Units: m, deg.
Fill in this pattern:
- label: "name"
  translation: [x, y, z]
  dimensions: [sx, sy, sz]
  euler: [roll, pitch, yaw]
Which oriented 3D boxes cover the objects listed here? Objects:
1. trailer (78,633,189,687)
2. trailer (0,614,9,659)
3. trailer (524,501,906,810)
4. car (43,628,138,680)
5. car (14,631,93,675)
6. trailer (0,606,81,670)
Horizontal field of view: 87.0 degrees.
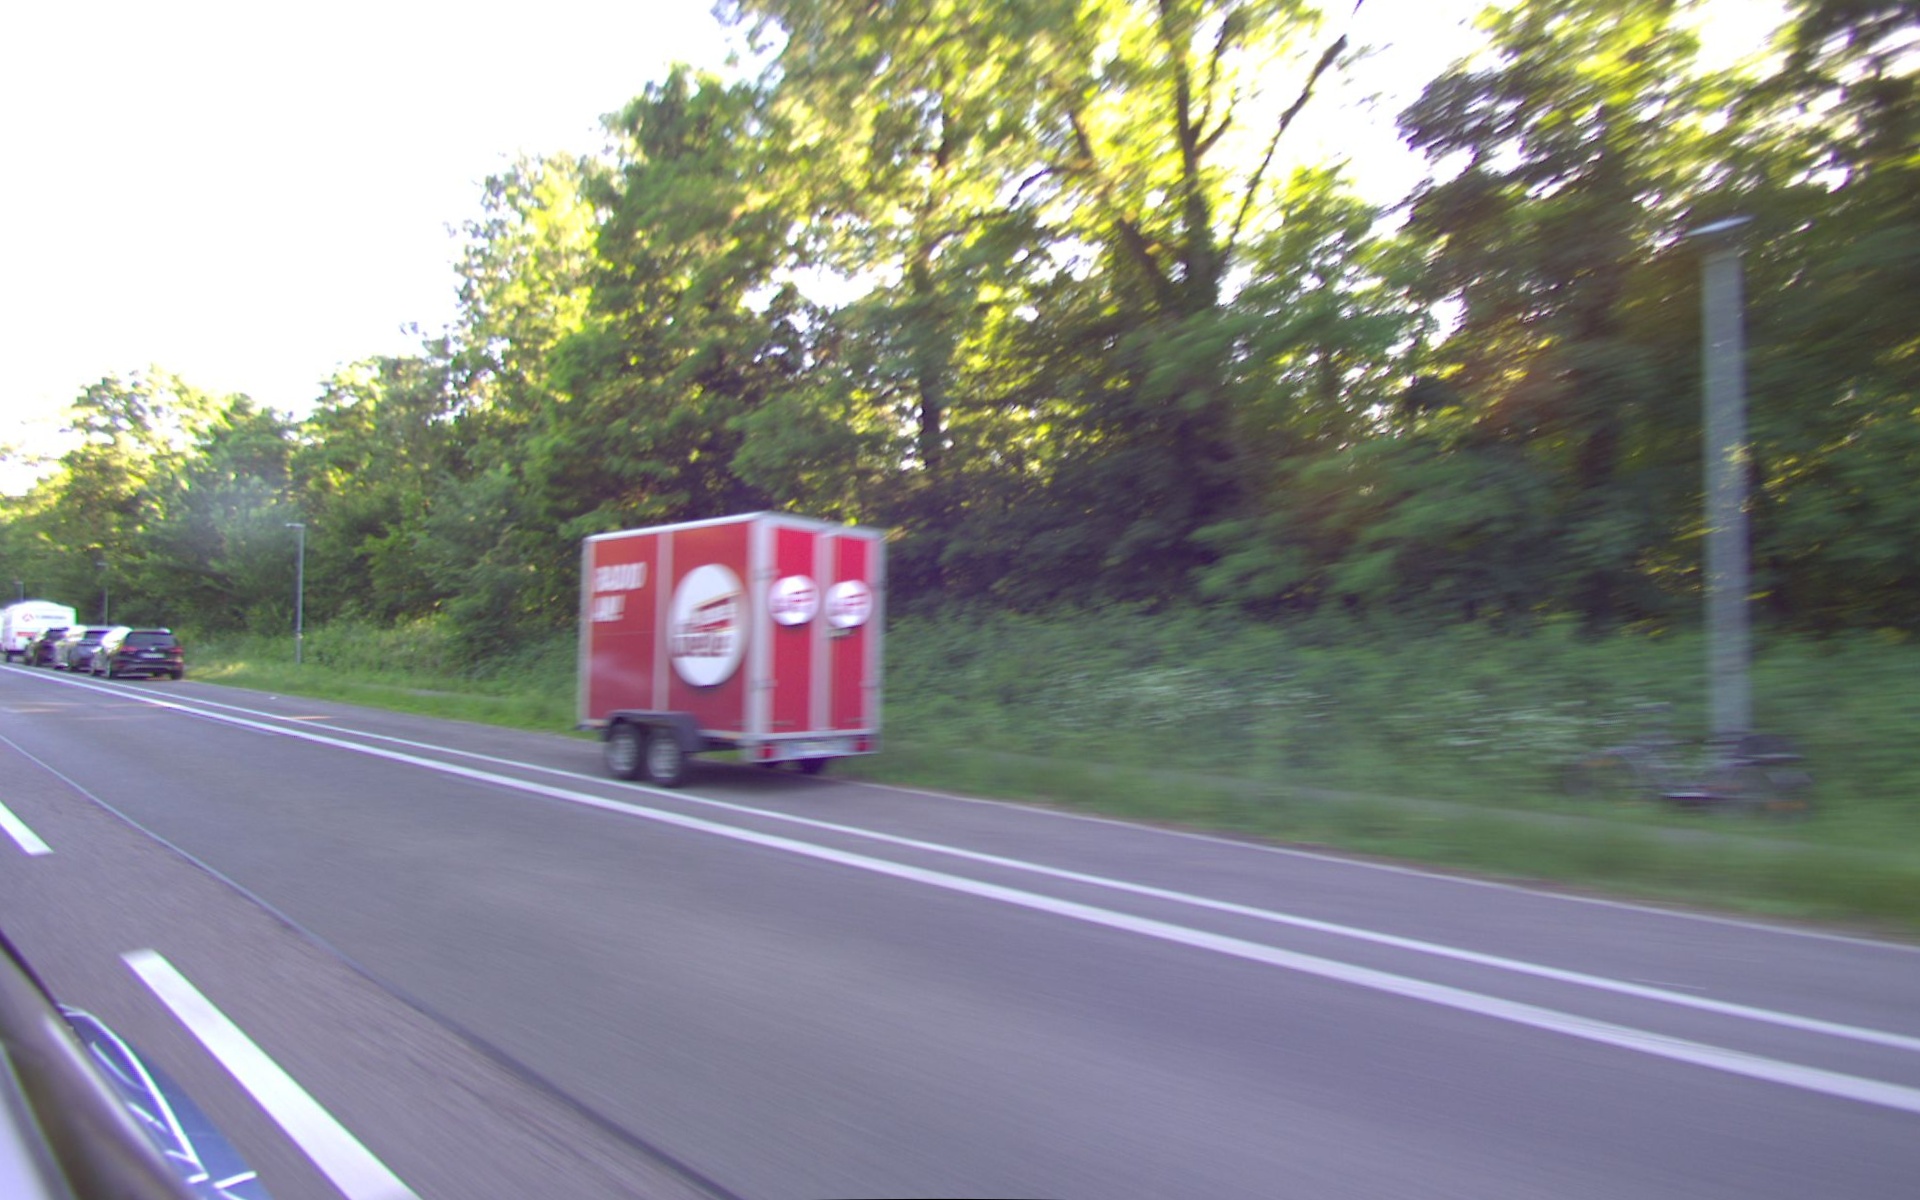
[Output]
- label: "trailer"
  translation: [-24.487, 1.715, 29.926]
  dimensions: [4.464, 1.477, 1.822]
  euler: [-2, -2, 41]
- label: "trailer"
  translation: [-56.043, 2.076, 57.717]
  dimensions: [3.556, 2.499, 2.046]
  euler: [-1, -3, 38]
- label: "trailer"
  translation: [-2.719, 0.535, 10.787]
  dimensions: [4.084, 2.641, 1.972]
  euler: [-2, -3, 41]
- label: "car"
  translation: [-29.585, 1.796, 34.373]
  dimensions: [5.125, 1.586, 1.653]
  euler: [-1, -5, 41]
- label: "car"
  translation: [-34.410, 1.979, 38.373]
  dimensions: [4.192, 1.506, 1.653]
  euler: [-1, -5, 41]
- label: "trailer"
  translation: [-39.202, 1.592, 42.721]
  dimensions: [4.338, 2.548, 2.323]
  euler: [-1, -3, 38]
